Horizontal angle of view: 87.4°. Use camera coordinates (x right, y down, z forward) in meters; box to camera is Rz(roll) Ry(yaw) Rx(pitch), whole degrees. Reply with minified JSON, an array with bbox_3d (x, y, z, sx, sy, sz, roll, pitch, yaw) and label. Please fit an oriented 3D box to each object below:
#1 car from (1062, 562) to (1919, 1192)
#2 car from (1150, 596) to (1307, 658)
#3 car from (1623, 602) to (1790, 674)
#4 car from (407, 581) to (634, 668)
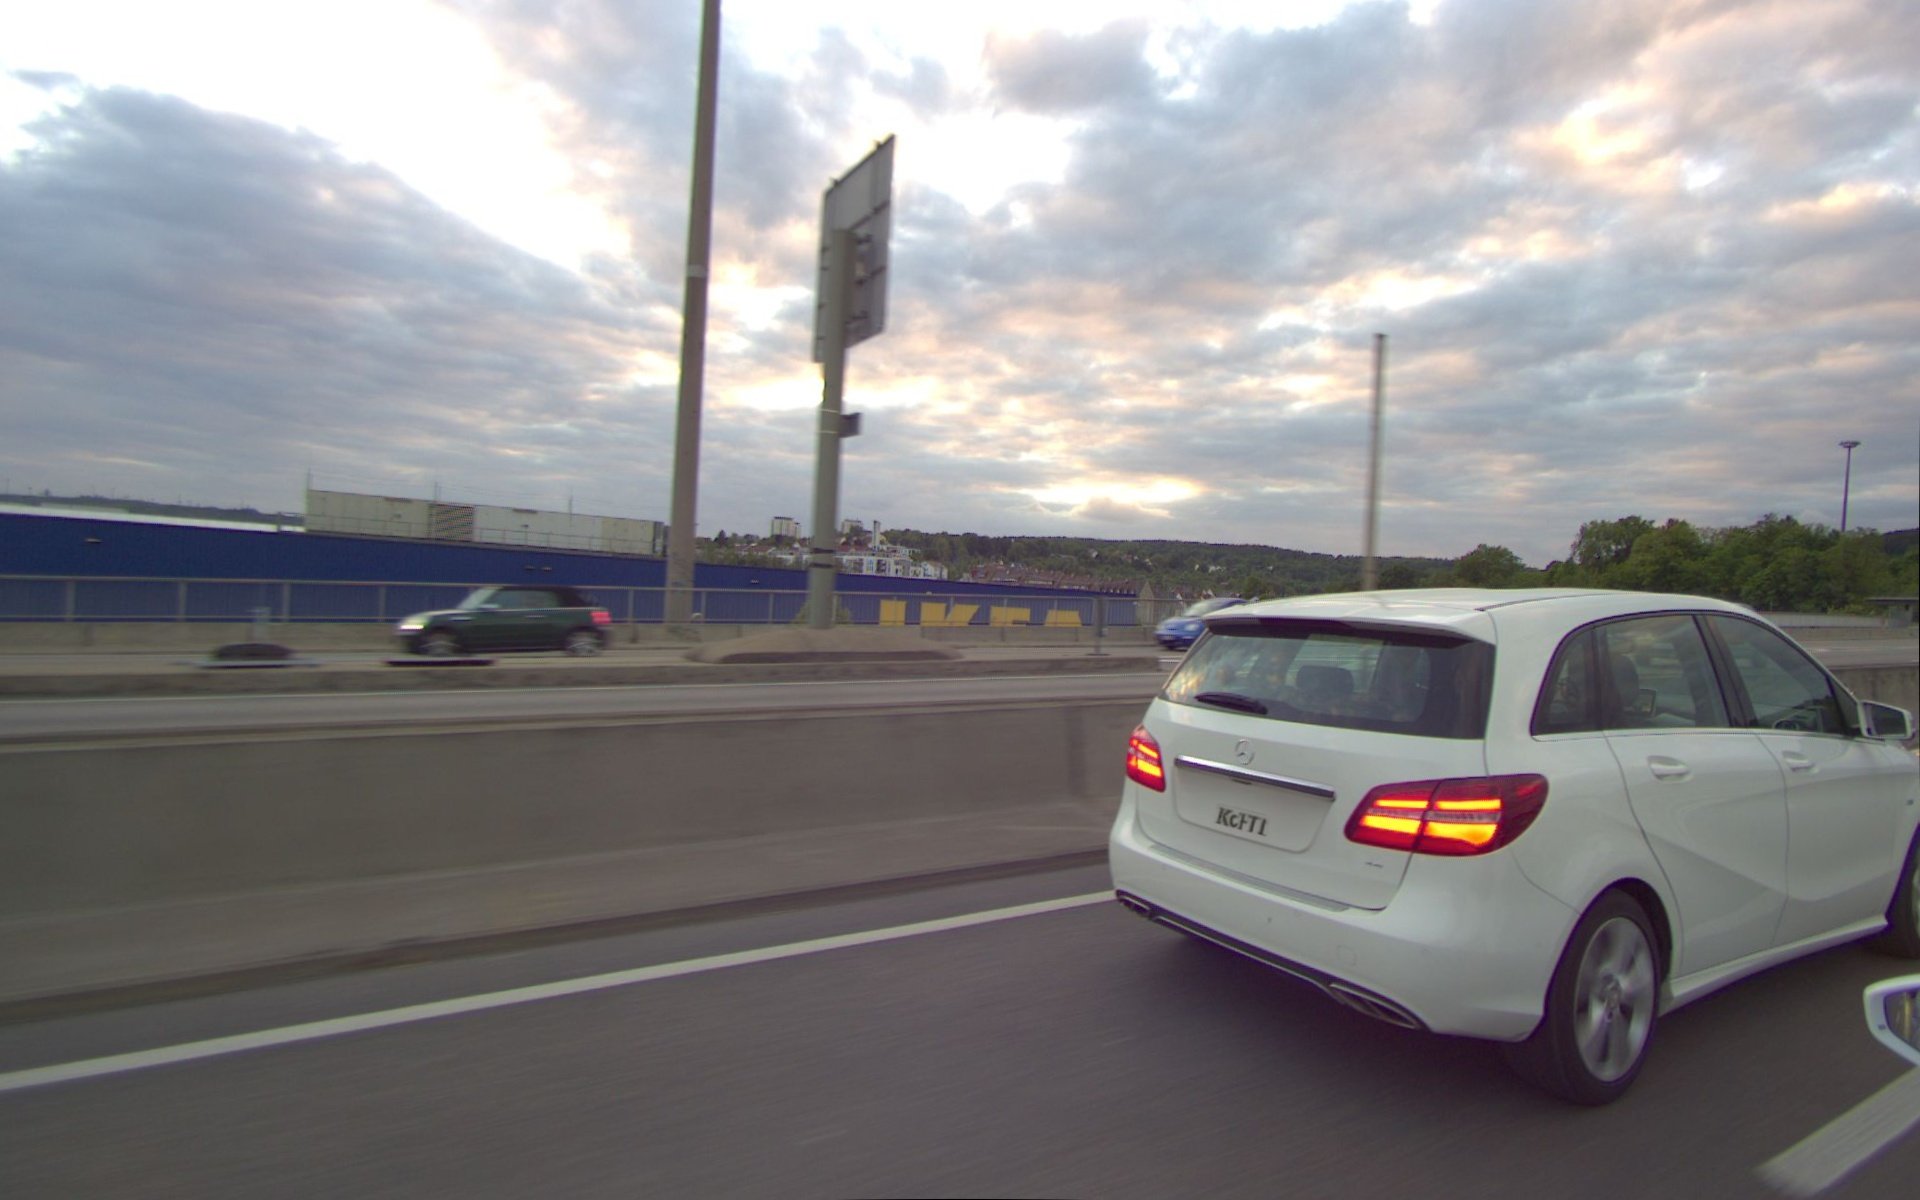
[{"bbox_3d":[2.860,0.751,4.444,4.729,1.557,1.682,2,-1,-31],"label":"car"},{"bbox_3d":[7.619,0.752,28.453,4.111,1.617,1.889,2,0,-29],"label":"car"},{"bbox_3d":[18.004,0.910,24.195,4.032,1.514,1.702,2,2,-30],"label":"car"},{"bbox_3d":[-8.362,0.460,19.217,3.792,1.506,1.789,2,0,-27],"label":"car"}]
